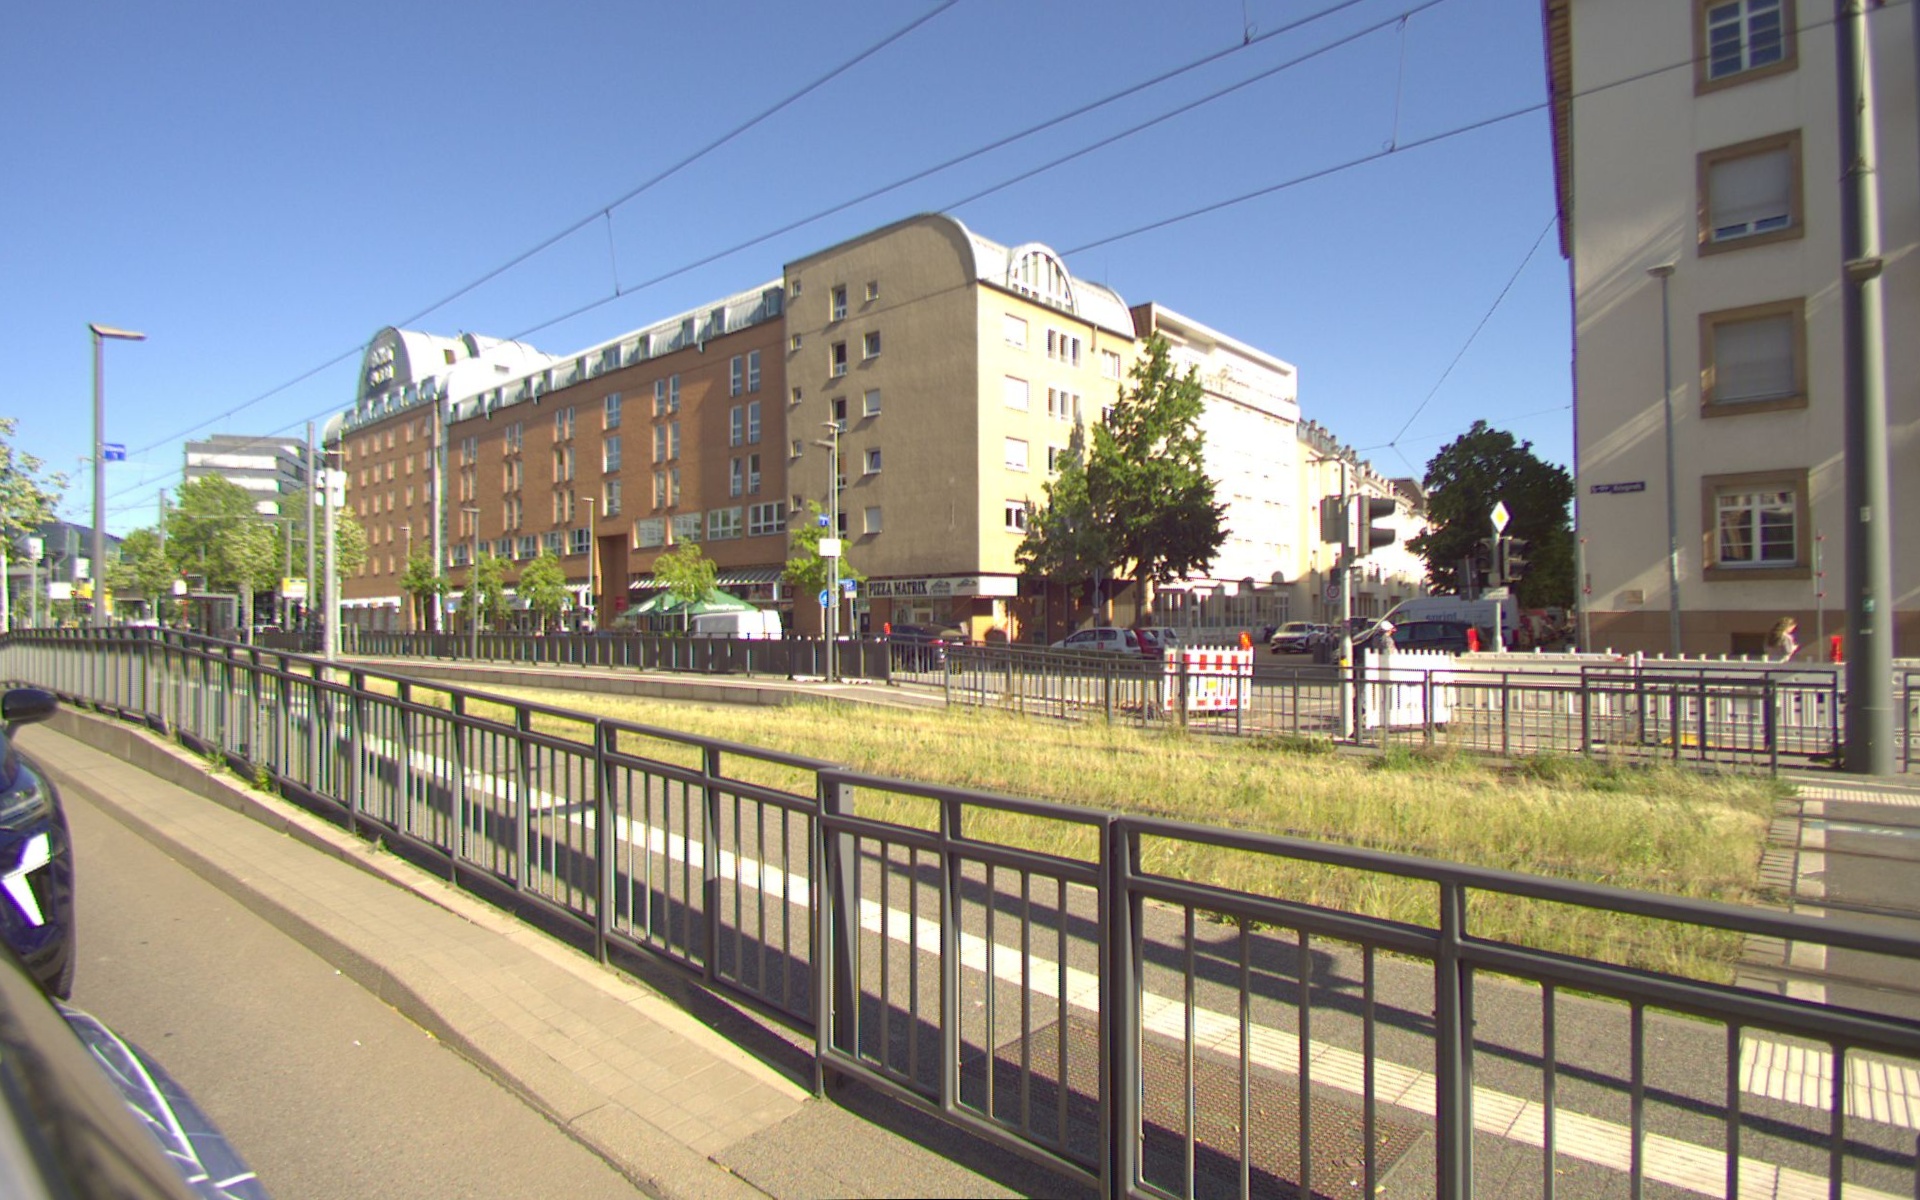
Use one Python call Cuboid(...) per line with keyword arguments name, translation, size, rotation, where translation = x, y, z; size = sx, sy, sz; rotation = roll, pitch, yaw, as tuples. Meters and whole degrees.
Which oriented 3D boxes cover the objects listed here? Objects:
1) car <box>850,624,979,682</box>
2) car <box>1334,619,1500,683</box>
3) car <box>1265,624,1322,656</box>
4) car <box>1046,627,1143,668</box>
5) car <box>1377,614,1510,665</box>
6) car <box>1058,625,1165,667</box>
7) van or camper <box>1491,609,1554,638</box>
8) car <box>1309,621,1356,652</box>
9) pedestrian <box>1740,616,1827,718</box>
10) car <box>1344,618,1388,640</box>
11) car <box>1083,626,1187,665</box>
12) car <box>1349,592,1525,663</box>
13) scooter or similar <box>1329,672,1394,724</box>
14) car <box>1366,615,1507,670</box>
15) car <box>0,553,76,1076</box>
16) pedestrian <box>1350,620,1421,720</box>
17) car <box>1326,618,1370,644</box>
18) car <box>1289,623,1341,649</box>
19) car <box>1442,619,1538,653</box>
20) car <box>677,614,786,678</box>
Cuboid(name="car", translation=(-1.487, 1.622, 32.027), size=(3.996, 1.652, 1.677), rotation=(-1, 0, 39))
Cuboid(name="car", translation=(12.969, 1.396, 28.821), size=(3.994, 1.652, 1.846), rotation=(-1, 0, 37))
Cuboid(name="car", translation=(17.734, 2.099, 53.713), size=(1.993, 1.630, 4.141), rotation=(-1, -2, 31))
Cuboid(name="car", translation=(5.091, 1.777, 38.357), size=(3.334, 1.438, 1.424), rotation=(-1, 0, 29))
Cuboid(name="car", translation=(16.823, 1.343, 35.274), size=(3.989, 1.652, 1.848), rotation=(-1, 0, 33))
Cuboid(name="car", translation=(6.022, 1.791, 40.381), size=(3.955, 1.564, 1.457), rotation=(-1, 0, 33))
Cuboid(name="van or camper", translation=(44.860, 1.899, 80.771), size=(4.332, 2.231, 1.931), rotation=(-1, 0, 32))
Cuboid(name="car", translation=(22.796, 2.220, 61.821), size=(1.839, 1.730, 4.033), rotation=(-1, 0, 34))
Cuboid(name="pedestrian", translation=(12.935, 1.022, 15.901), size=(1.020, 1.529, 0.778), rotation=(-1, 0, 41))
Cuboid(name="car", translation=(28.278, 2.034, 70.438), size=(1.995, 1.473, 4.137), rotation=(-1, -2, 34))
Cuboid(name="car", translation=(7.332, 1.871, 42.599), size=(3.997, 1.497, 1.693), rotation=(-1, 0, 40))
Cuboid(name="car", translation=(17.644, 0.972, 37.585), size=(5.737, 2.473, 1.979), rotation=(-1, 0, 32))
Cuboid(name="scooter or similar", translation=(6.091, 1.476, 15.357), size=(0.597, 0.725, 0.713), rotation=(1, -2, -38))
Cuboid(name="car", translation=(15.698, 1.358, 33.386), size=(3.989, 1.652, 1.848), rotation=(-1, 0, 33))
Cuboid(name="car", translation=(-5.066, 0.729, 4.019), size=(4.418, 1.597, 1.736), rotation=(-2, 1, 41))
Cuboid(name="pedestrian", translation=(6.646, 1.071, 15.819), size=(0.793, 1.515, 0.713), rotation=(1, -2, -38))
Cuboid(name="car", translation=(25.291, 2.004, 65.869), size=(1.993, 1.630, 4.141), rotation=(-1, -2, 31))
Cuboid(name="car", translation=(20.461, 2.080, 58.208), size=(1.993, 1.457, 4.141), rotation=(-1, -2, 31))
Cuboid(name="car", translation=(25.748, 1.722, 49.194), size=(3.988, 1.567, 1.848), rotation=(-1, 0, 33))
Cuboid(name="car", translation=(-9.090, 1.750, 40.011), size=(1.969, 2.314, 5.197), rotation=(-1, 0, -41))
